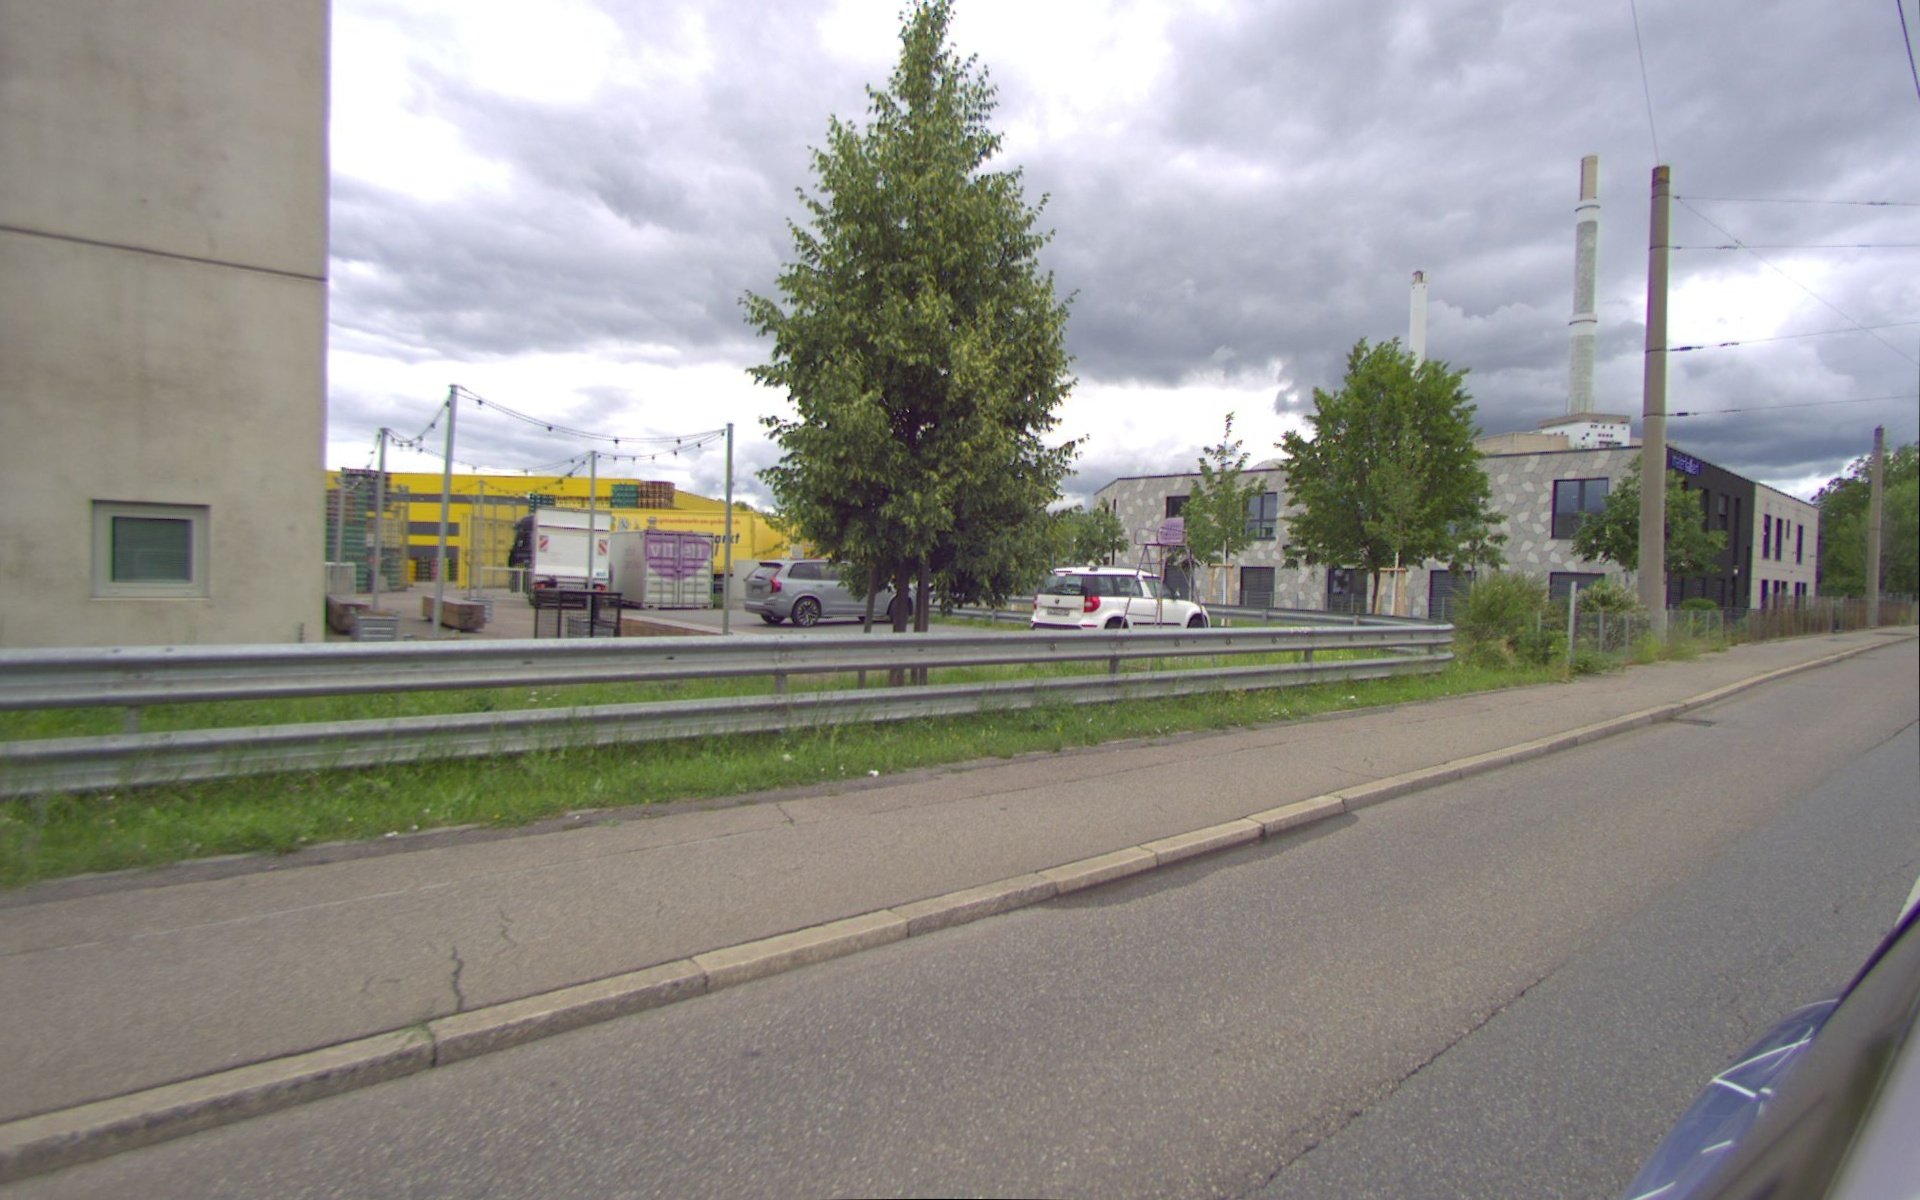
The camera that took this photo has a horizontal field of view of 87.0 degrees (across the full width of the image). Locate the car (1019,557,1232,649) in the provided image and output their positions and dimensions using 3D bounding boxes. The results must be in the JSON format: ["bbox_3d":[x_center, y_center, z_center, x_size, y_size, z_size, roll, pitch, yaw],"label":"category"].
[{"bbox_3d":[3.309,0.058,19.713,4.353,1.594,1.752,1,0,-42],"label":"car"}]

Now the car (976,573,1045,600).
[{"bbox_3d":[3.312,-0.891,66.803,4.290,1.604,2.002,2,1,-3],"label":"car"}]

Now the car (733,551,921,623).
[{"bbox_3d":[-3.477,-0.340,26.848,4.603,1.741,1.917,0,2,-39],"label":"car"}]

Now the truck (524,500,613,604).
[{"bbox_3d":[-13.269,-1.432,33.949,2.302,3.075,7.784,-1,0,-25],"label":"truck"}]

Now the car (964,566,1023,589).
[{"bbox_3d":[2.538,-1.742,77.437,4.290,1.604,2.002,2,1,-3],"label":"car"}]

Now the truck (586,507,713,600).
[{"bbox_3d":[-11.613,-1.551,37.313,2.572,3.075,7.775,-1,0,-32],"label":"truck"}]

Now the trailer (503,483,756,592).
[{"bbox_3d":[-13.824,-2.545,43.043,9.812,4.012,2.926,2,1,-15],"label":"trailer"}]

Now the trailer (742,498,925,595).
[{"bbox_3d":[-5.895,-2.448,48.573,8.551,4.122,2.943,1,2,-44],"label":"trailer"}]
